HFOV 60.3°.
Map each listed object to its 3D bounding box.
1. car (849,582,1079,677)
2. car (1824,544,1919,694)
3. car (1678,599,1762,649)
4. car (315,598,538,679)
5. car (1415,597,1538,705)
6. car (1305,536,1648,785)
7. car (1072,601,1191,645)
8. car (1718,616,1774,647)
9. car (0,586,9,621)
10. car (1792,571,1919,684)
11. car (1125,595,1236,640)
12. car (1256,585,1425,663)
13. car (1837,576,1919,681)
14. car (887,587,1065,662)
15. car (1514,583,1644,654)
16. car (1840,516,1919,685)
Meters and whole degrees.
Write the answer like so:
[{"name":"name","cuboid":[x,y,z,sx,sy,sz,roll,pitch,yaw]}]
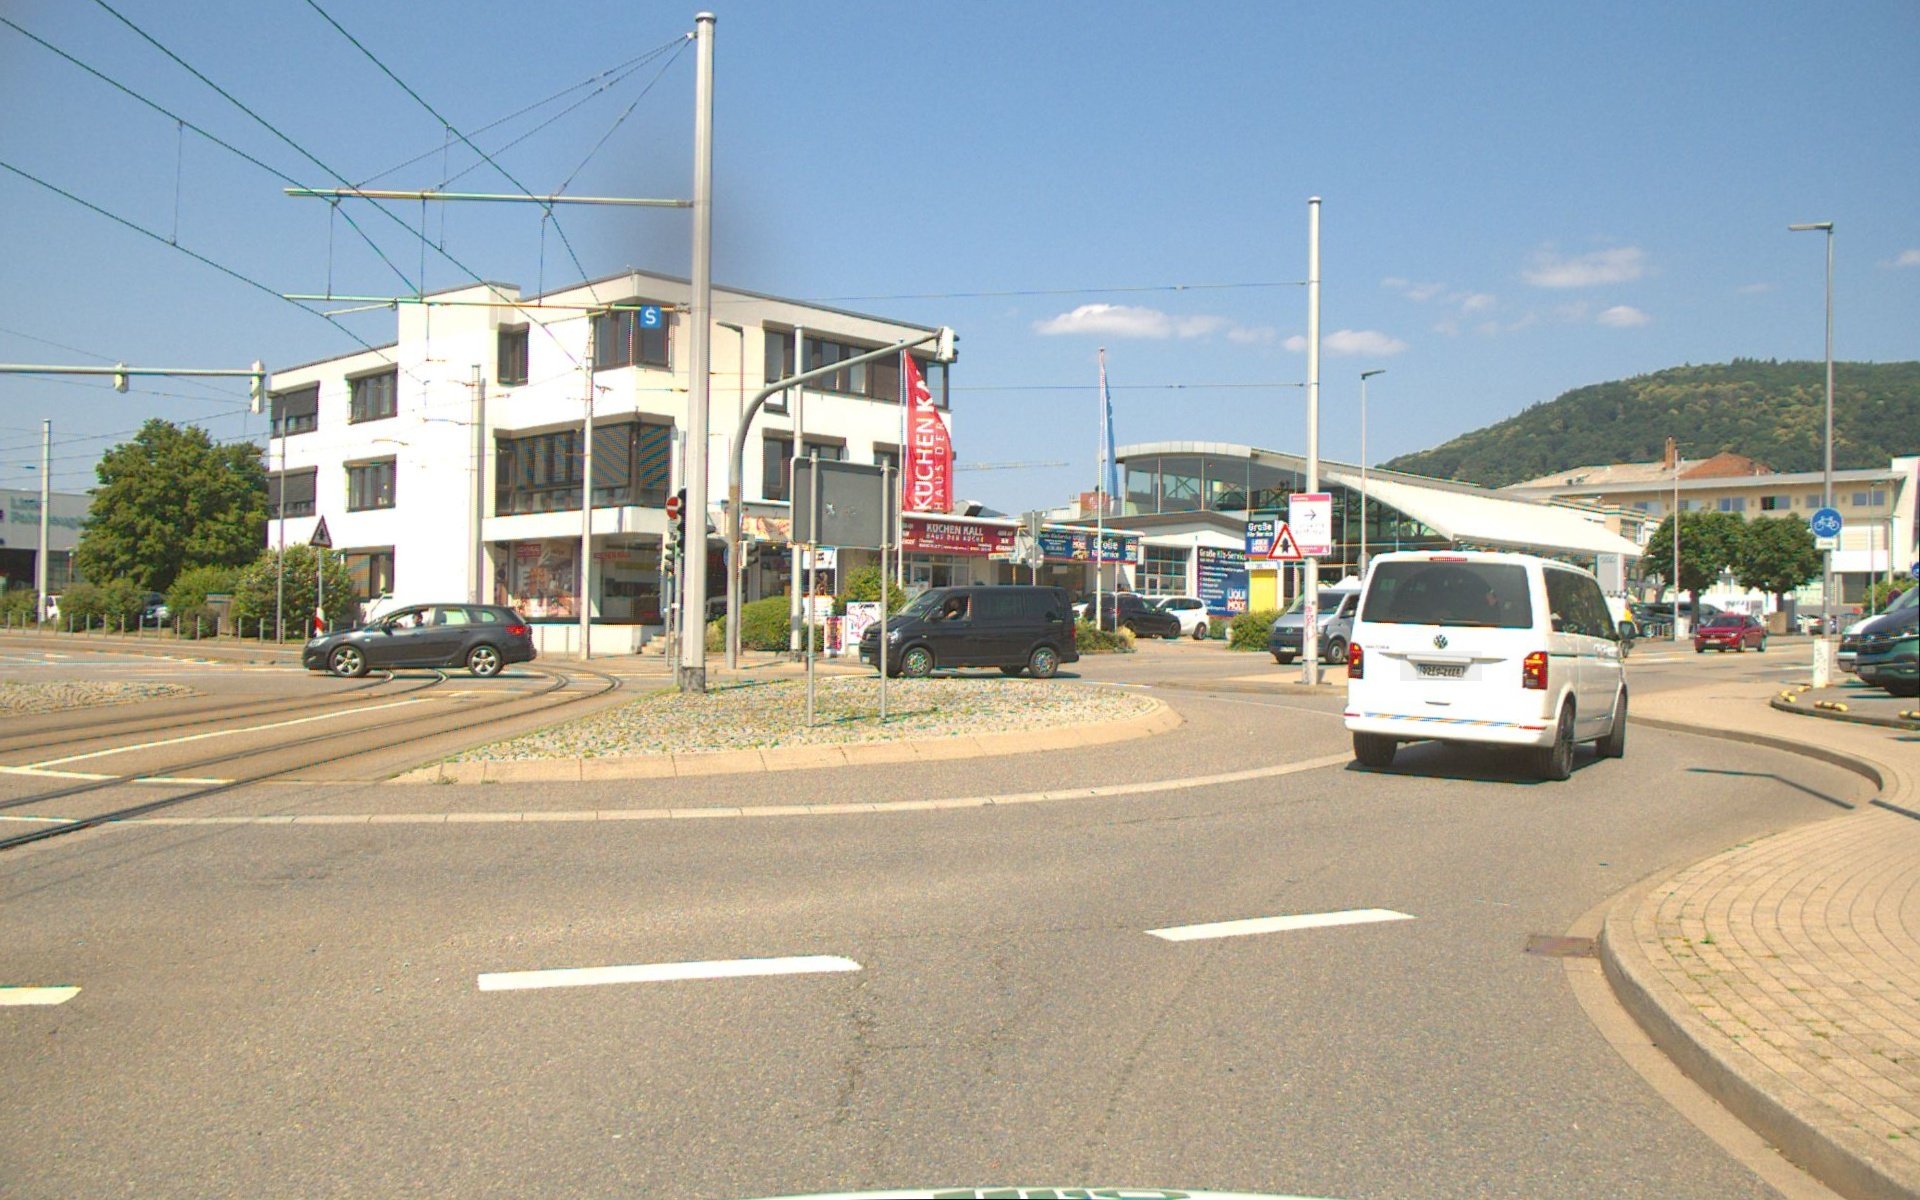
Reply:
[{"name":"car","cuboid":[0.084,0.606,35.960,4.563,1.943,2.083,0,0,-24]},{"name":"car","cuboid":[15.947,0.280,24.584,5.100,2.150,2.098,0,0,5]},{"name":"car","cuboid":[29.473,0.920,64.061,1.988,1.870,4.849,0,0,37]},{"name":"car","cuboid":[-10.917,0.782,34.119,4.154,1.583,1.964,1,0,-12]},{"name":"car","cuboid":[9.261,0.864,29.726,1.951,1.763,4.566,0,0,17]},{"name":"car","cuboid":[5.277,0.504,16.371,2.122,2.049,5.007,1,0,31]},{"name":"car","cuboid":[5.943,0.789,57.055,1.996,1.452,4.292,0,-1,41]},{"name":"car","cuboid":[41.903,1.669,88.229,1.708,1.613,3.664,0,0,9]},{"name":"car","cuboid":[-53.187,0.222,89.401,3.927,1.814,1.989,-2,-1,41]},{"name":"car","cuboid":[18.411,0.509,30.546,5.033,2.035,2.026,0,-1,9]},{"name":"car","cuboid":[8.528,0.687,63.580,1.852,1.616,4.899,-2,-2,41]},{"name":"car","cuboid":[10.151,0.626,43.911,4.783,1.969,1.906,1,-1,-40]},{"name":"car","cuboid":[20.528,0.538,32.954,5.023,2.049,1.932,-1,-1,13]},{"name":"car","cuboid":[0.515,0.689,46.874,5.241,2.000,1.934,1,-1,-45]},{"name":"car","cuboid":[19.812,0.550,52.866,4.896,2.151,1.995,0,1,-44]},{"name":"car","cuboid":[18.425,0.006,27.769,6.006,2.764,2.308,0,-1,6]}]
